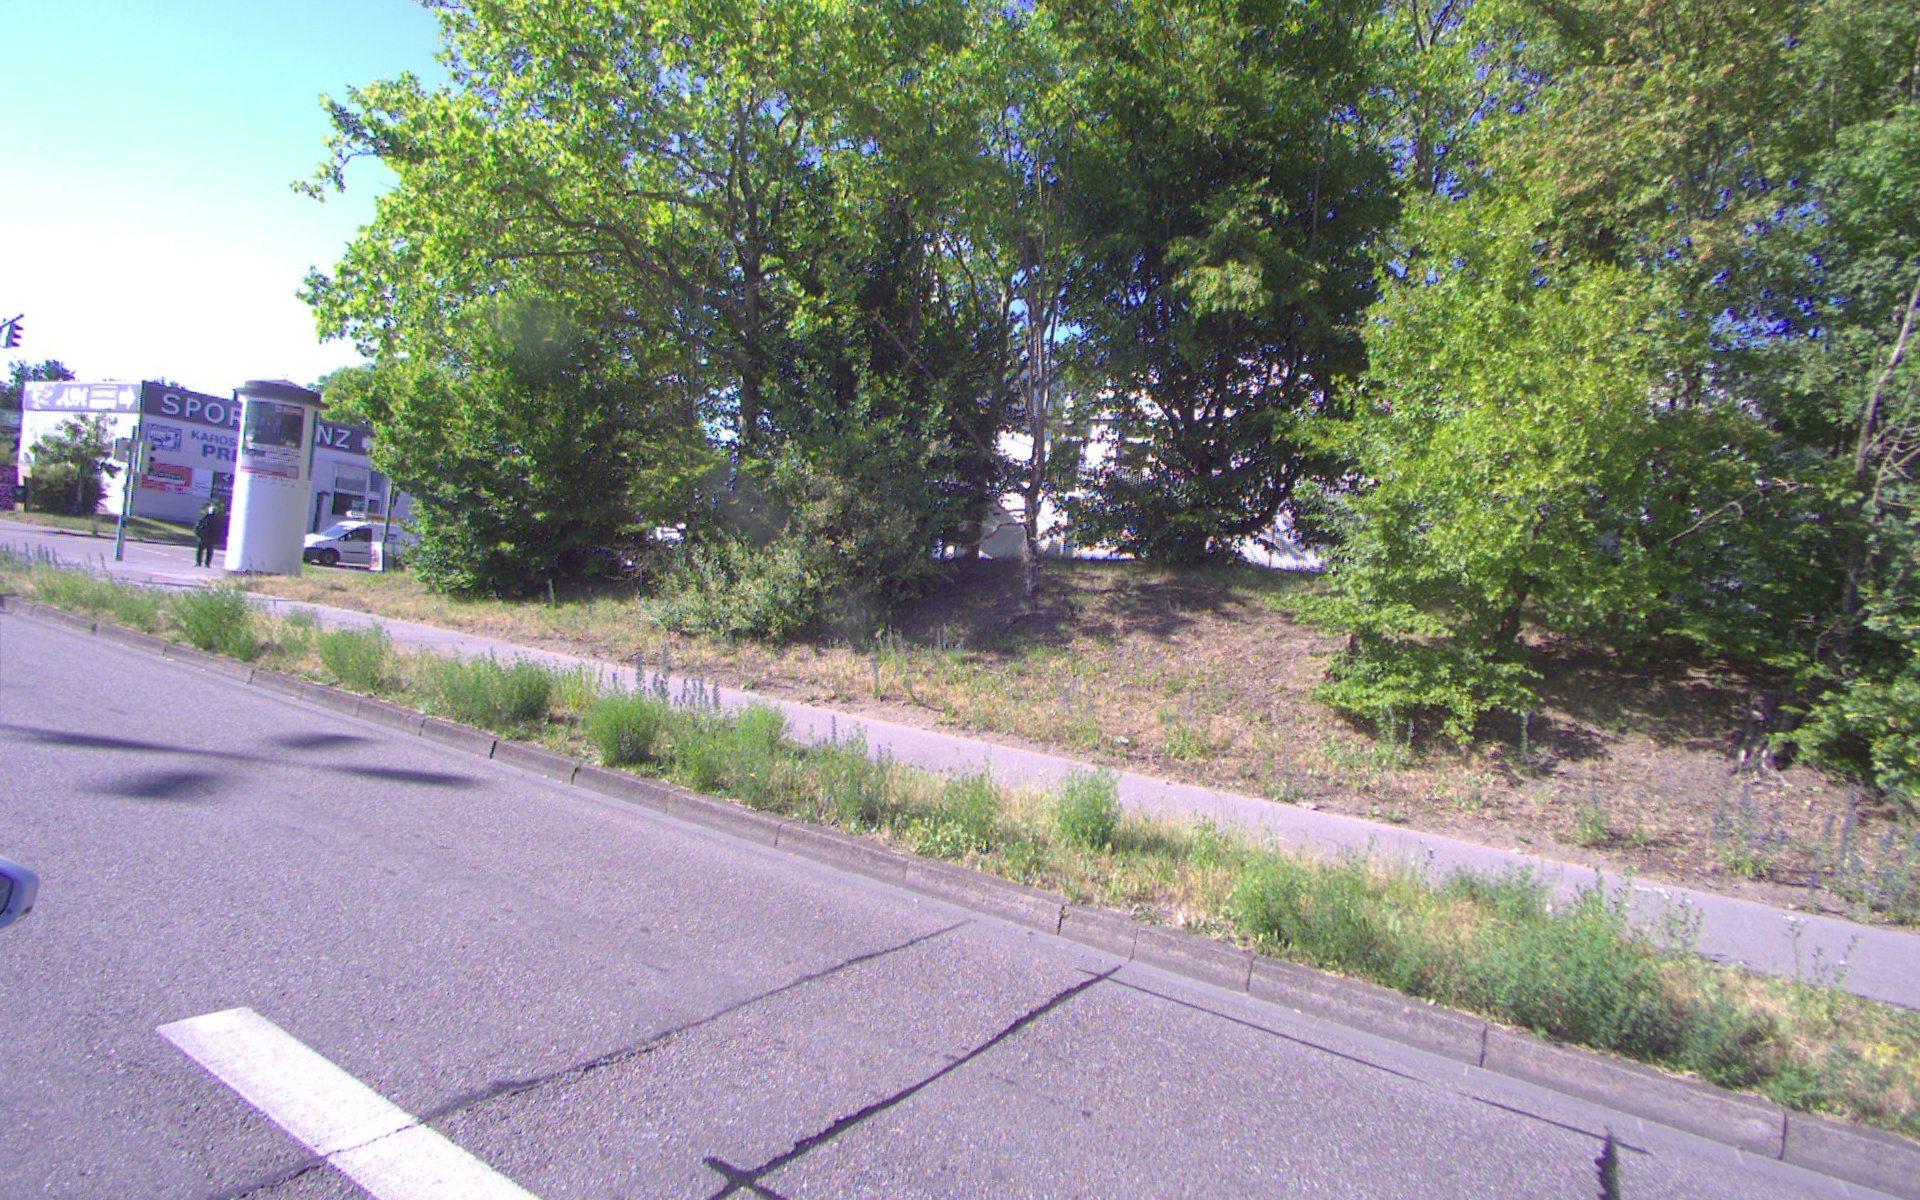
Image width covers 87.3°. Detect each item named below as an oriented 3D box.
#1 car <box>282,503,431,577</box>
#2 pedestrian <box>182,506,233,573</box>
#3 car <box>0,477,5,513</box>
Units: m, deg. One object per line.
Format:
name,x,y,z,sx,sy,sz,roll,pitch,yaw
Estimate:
car,-23.387,-2.285,39.170,1.965,2.171,4.415,7,-1,28
pedestrian,-21.008,-1.690,28.093,0.841,1.743,0.822,7,0,39
car,-48.286,-5.343,47.681,1.663,1.726,4.003,7,-1,16
